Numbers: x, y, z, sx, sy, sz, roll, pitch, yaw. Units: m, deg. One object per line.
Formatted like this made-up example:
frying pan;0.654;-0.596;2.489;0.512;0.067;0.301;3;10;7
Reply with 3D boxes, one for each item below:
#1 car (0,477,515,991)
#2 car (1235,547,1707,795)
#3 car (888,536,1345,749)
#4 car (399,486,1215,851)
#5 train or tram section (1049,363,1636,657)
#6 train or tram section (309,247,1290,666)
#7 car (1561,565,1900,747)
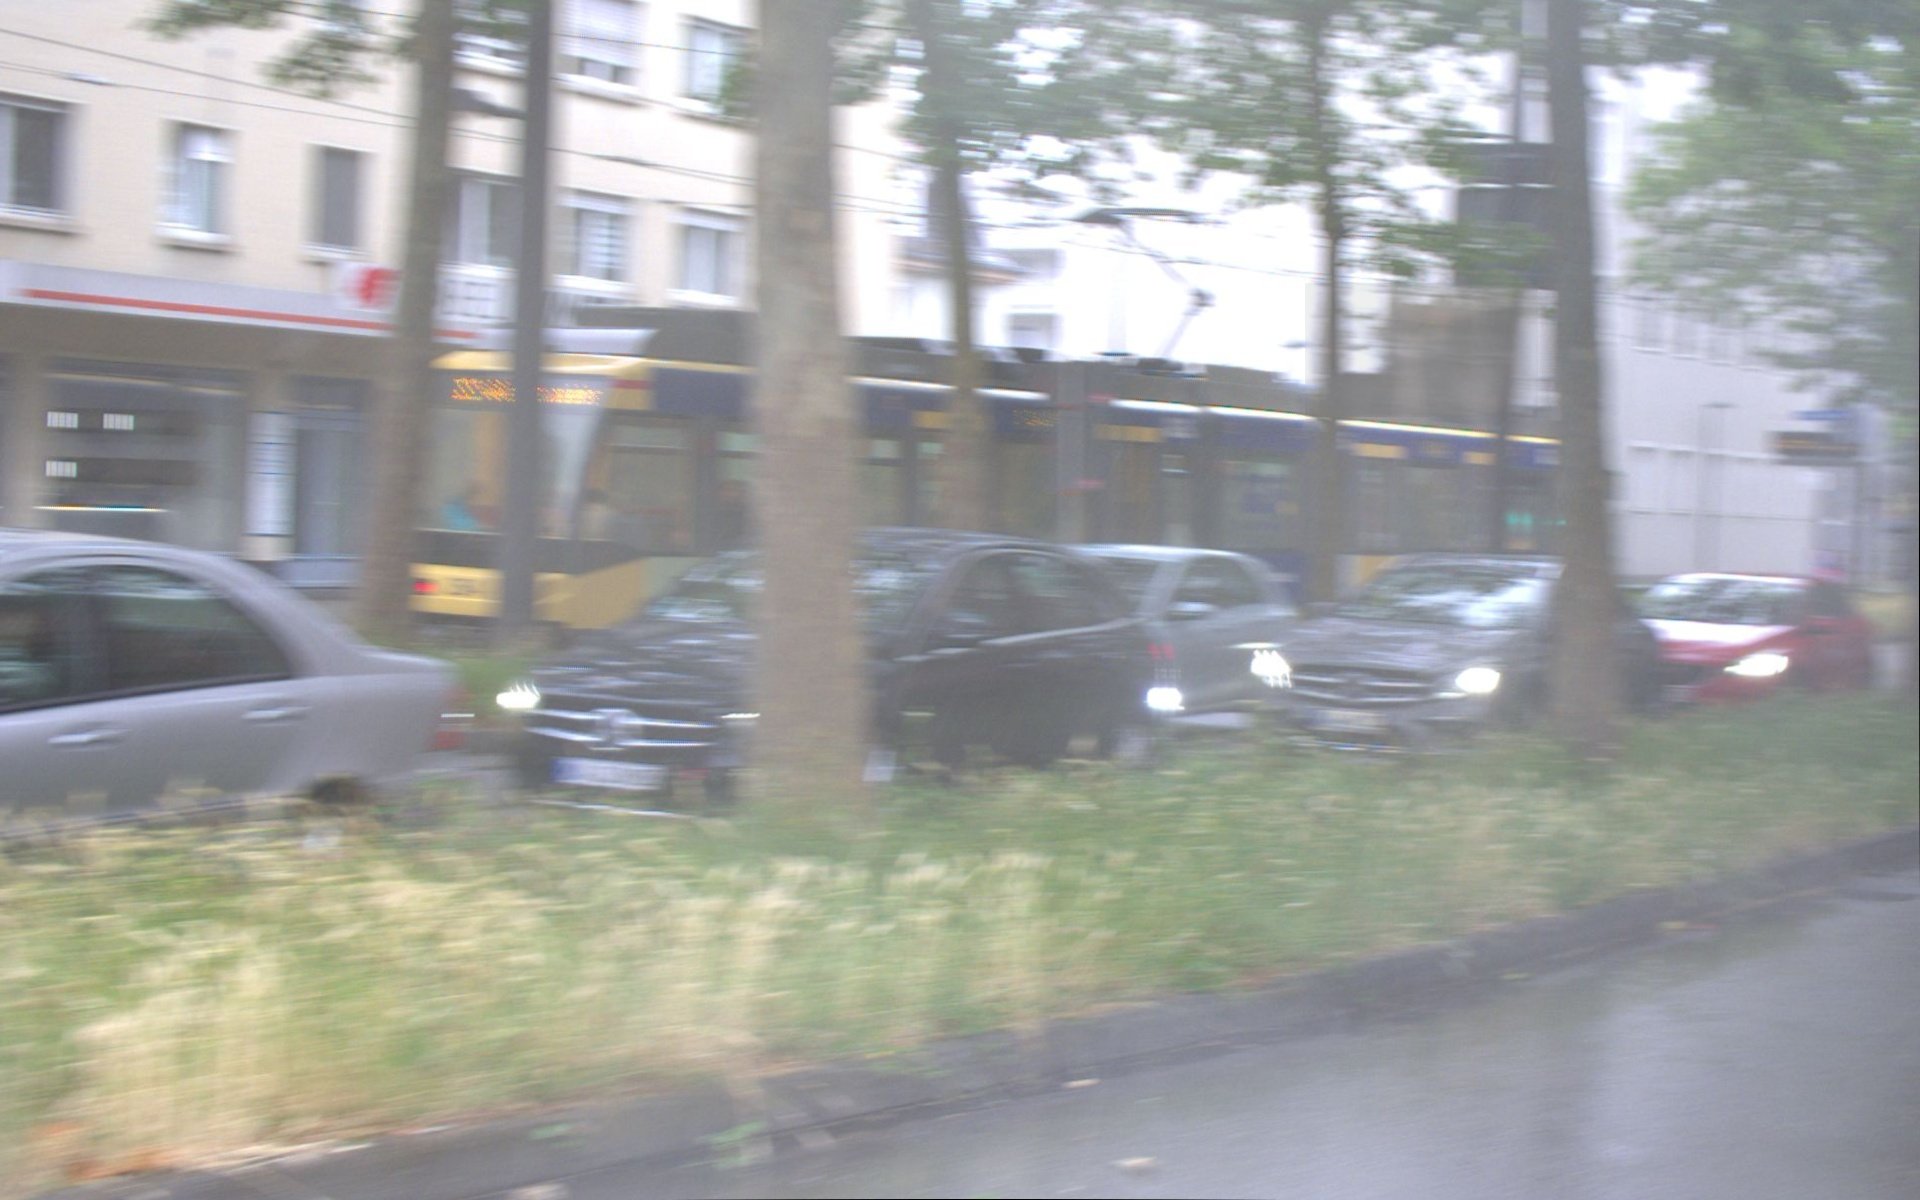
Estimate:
car;-3.422;0.358;10.741;1.737;1.484;4.494;3;2;27
car;3.642;0.418;23.799;1.744;1.475;4.425;3;2;29
car;1.271;0.265;25.905;1.744;1.393;4.123;3;2;29
car;-0.574;0.254;17.038;1.859;1.480;4.632;3;2;29
train or tram section;5.964;-1.093;49.167;3.111;3.546;14.652;3;1;27
train or tram section;-0.890;-1.232;36.269;3.111;3.546;14.554;3;1;28
car;6.821;0.430;30.109;1.744;1.393;4.226;3;2;29
